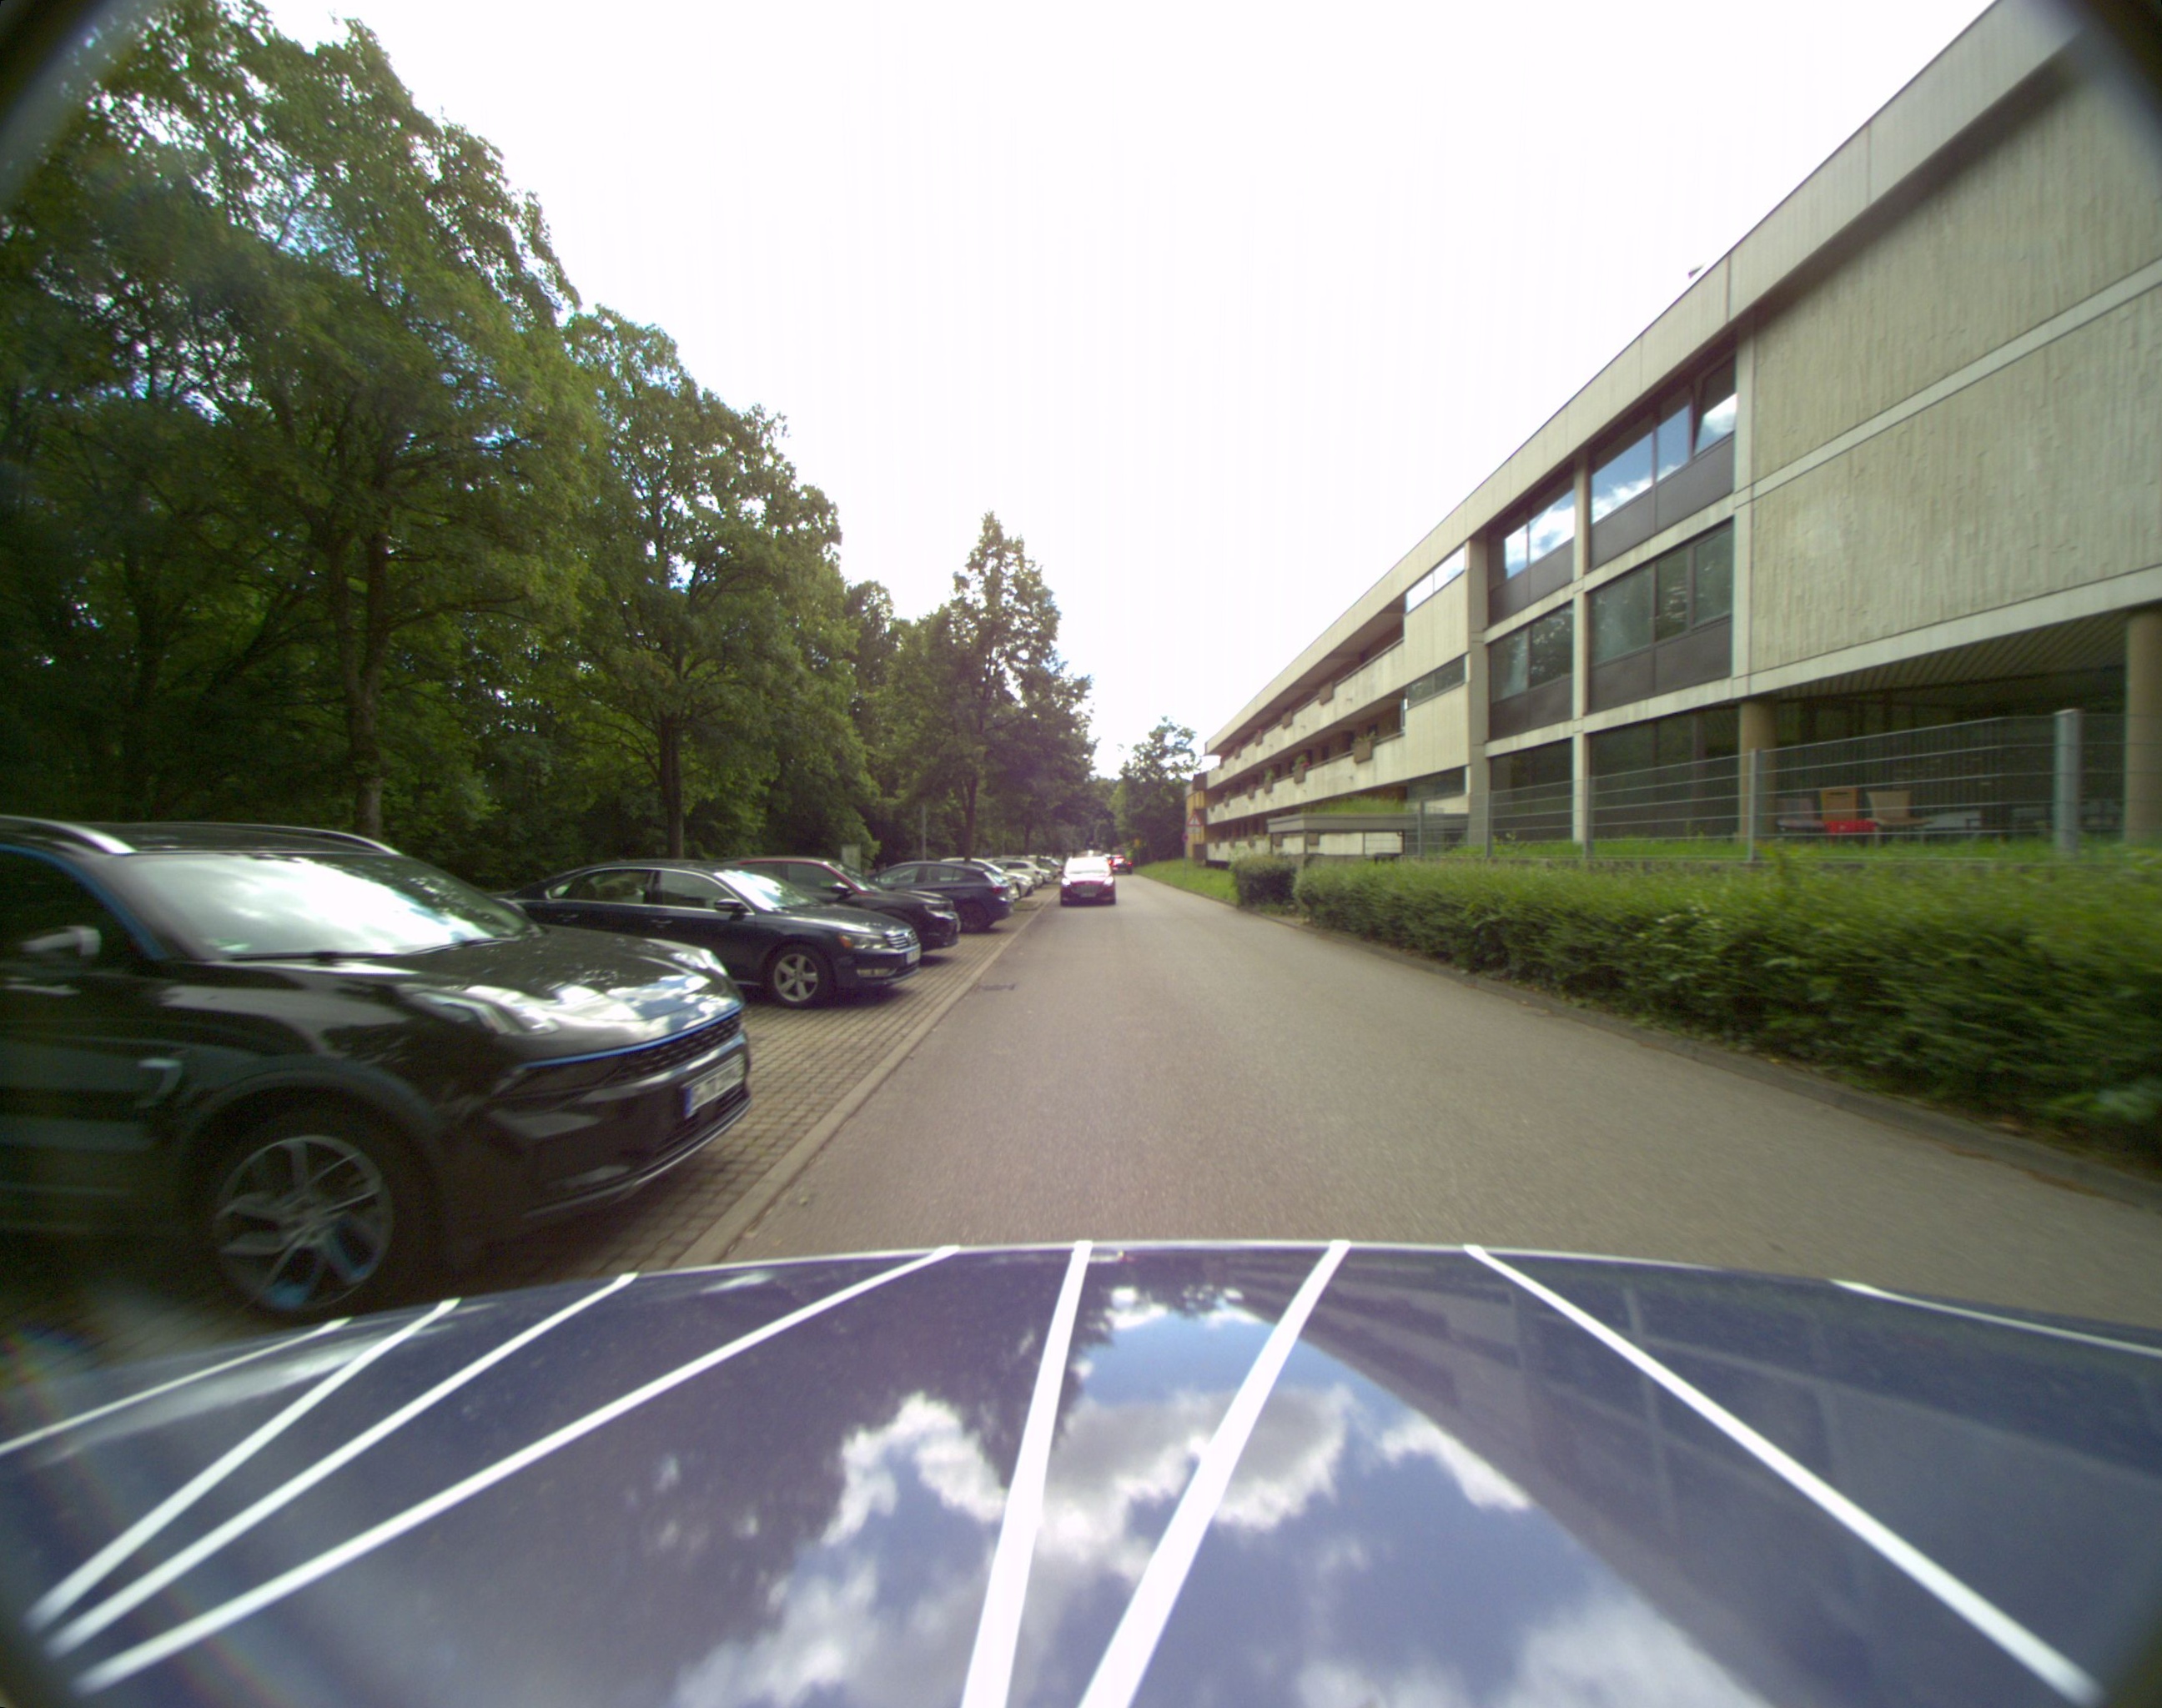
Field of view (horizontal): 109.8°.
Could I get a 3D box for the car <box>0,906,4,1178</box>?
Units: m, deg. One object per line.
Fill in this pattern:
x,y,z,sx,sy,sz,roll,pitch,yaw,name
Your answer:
-4.062,0.858,0.784,3.387,1.565,1.797,1,0,1,car

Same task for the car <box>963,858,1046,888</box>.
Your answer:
-3.779,0.937,37.818,4.020,1.414,1.791,1,0,-4,car

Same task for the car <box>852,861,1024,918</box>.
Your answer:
-3.958,0.961,21.545,4.496,1.446,1.846,1,0,1,car

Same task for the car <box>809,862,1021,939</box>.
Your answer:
-3.432,0.950,16.239,4.082,1.448,1.851,1,0,2,car

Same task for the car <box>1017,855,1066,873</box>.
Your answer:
-3.415,0.839,65.852,4.146,1.561,1.785,0,0,-1,car

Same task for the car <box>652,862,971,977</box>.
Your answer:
-3.801,0.916,11.313,4.084,1.508,1.850,1,0,-3,car

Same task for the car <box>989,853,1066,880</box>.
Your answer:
-3.536,0.792,50.648,4.828,1.683,1.974,1,0,4,car

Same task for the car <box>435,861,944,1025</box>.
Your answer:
-4.066,0.877,8.472,4.647,1.508,1.983,1,0,3,car

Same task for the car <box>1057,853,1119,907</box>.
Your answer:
0.247,0.830,26.875,1.918,1.707,5.038,-1,0,1,car

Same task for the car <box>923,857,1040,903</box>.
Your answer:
-3.515,0.915,27.349,3.849,1.507,1.881,1,0,4,car

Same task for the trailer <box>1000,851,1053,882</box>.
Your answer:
-3.241,0.757,45.547,3.037,1.780,1.563,1,1,-2,trailer

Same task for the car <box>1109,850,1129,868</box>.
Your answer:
3.893,0.517,78.581,1.918,1.707,5.058,-1,0,1,car

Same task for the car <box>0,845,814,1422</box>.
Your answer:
-3.757,0.812,3.296,4.426,1.666,2.082,1,0,1,car

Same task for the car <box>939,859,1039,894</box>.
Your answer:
-3.884,0.954,32.722,4.064,1.414,1.816,1,0,0,car

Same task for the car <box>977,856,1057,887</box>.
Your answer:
-3.333,0.891,40.261,4.124,1.539,1.860,1,0,-2,car

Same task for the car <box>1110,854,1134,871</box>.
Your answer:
3.663,0.768,68.559,1.918,1.403,4.423,-2,0,0,car
